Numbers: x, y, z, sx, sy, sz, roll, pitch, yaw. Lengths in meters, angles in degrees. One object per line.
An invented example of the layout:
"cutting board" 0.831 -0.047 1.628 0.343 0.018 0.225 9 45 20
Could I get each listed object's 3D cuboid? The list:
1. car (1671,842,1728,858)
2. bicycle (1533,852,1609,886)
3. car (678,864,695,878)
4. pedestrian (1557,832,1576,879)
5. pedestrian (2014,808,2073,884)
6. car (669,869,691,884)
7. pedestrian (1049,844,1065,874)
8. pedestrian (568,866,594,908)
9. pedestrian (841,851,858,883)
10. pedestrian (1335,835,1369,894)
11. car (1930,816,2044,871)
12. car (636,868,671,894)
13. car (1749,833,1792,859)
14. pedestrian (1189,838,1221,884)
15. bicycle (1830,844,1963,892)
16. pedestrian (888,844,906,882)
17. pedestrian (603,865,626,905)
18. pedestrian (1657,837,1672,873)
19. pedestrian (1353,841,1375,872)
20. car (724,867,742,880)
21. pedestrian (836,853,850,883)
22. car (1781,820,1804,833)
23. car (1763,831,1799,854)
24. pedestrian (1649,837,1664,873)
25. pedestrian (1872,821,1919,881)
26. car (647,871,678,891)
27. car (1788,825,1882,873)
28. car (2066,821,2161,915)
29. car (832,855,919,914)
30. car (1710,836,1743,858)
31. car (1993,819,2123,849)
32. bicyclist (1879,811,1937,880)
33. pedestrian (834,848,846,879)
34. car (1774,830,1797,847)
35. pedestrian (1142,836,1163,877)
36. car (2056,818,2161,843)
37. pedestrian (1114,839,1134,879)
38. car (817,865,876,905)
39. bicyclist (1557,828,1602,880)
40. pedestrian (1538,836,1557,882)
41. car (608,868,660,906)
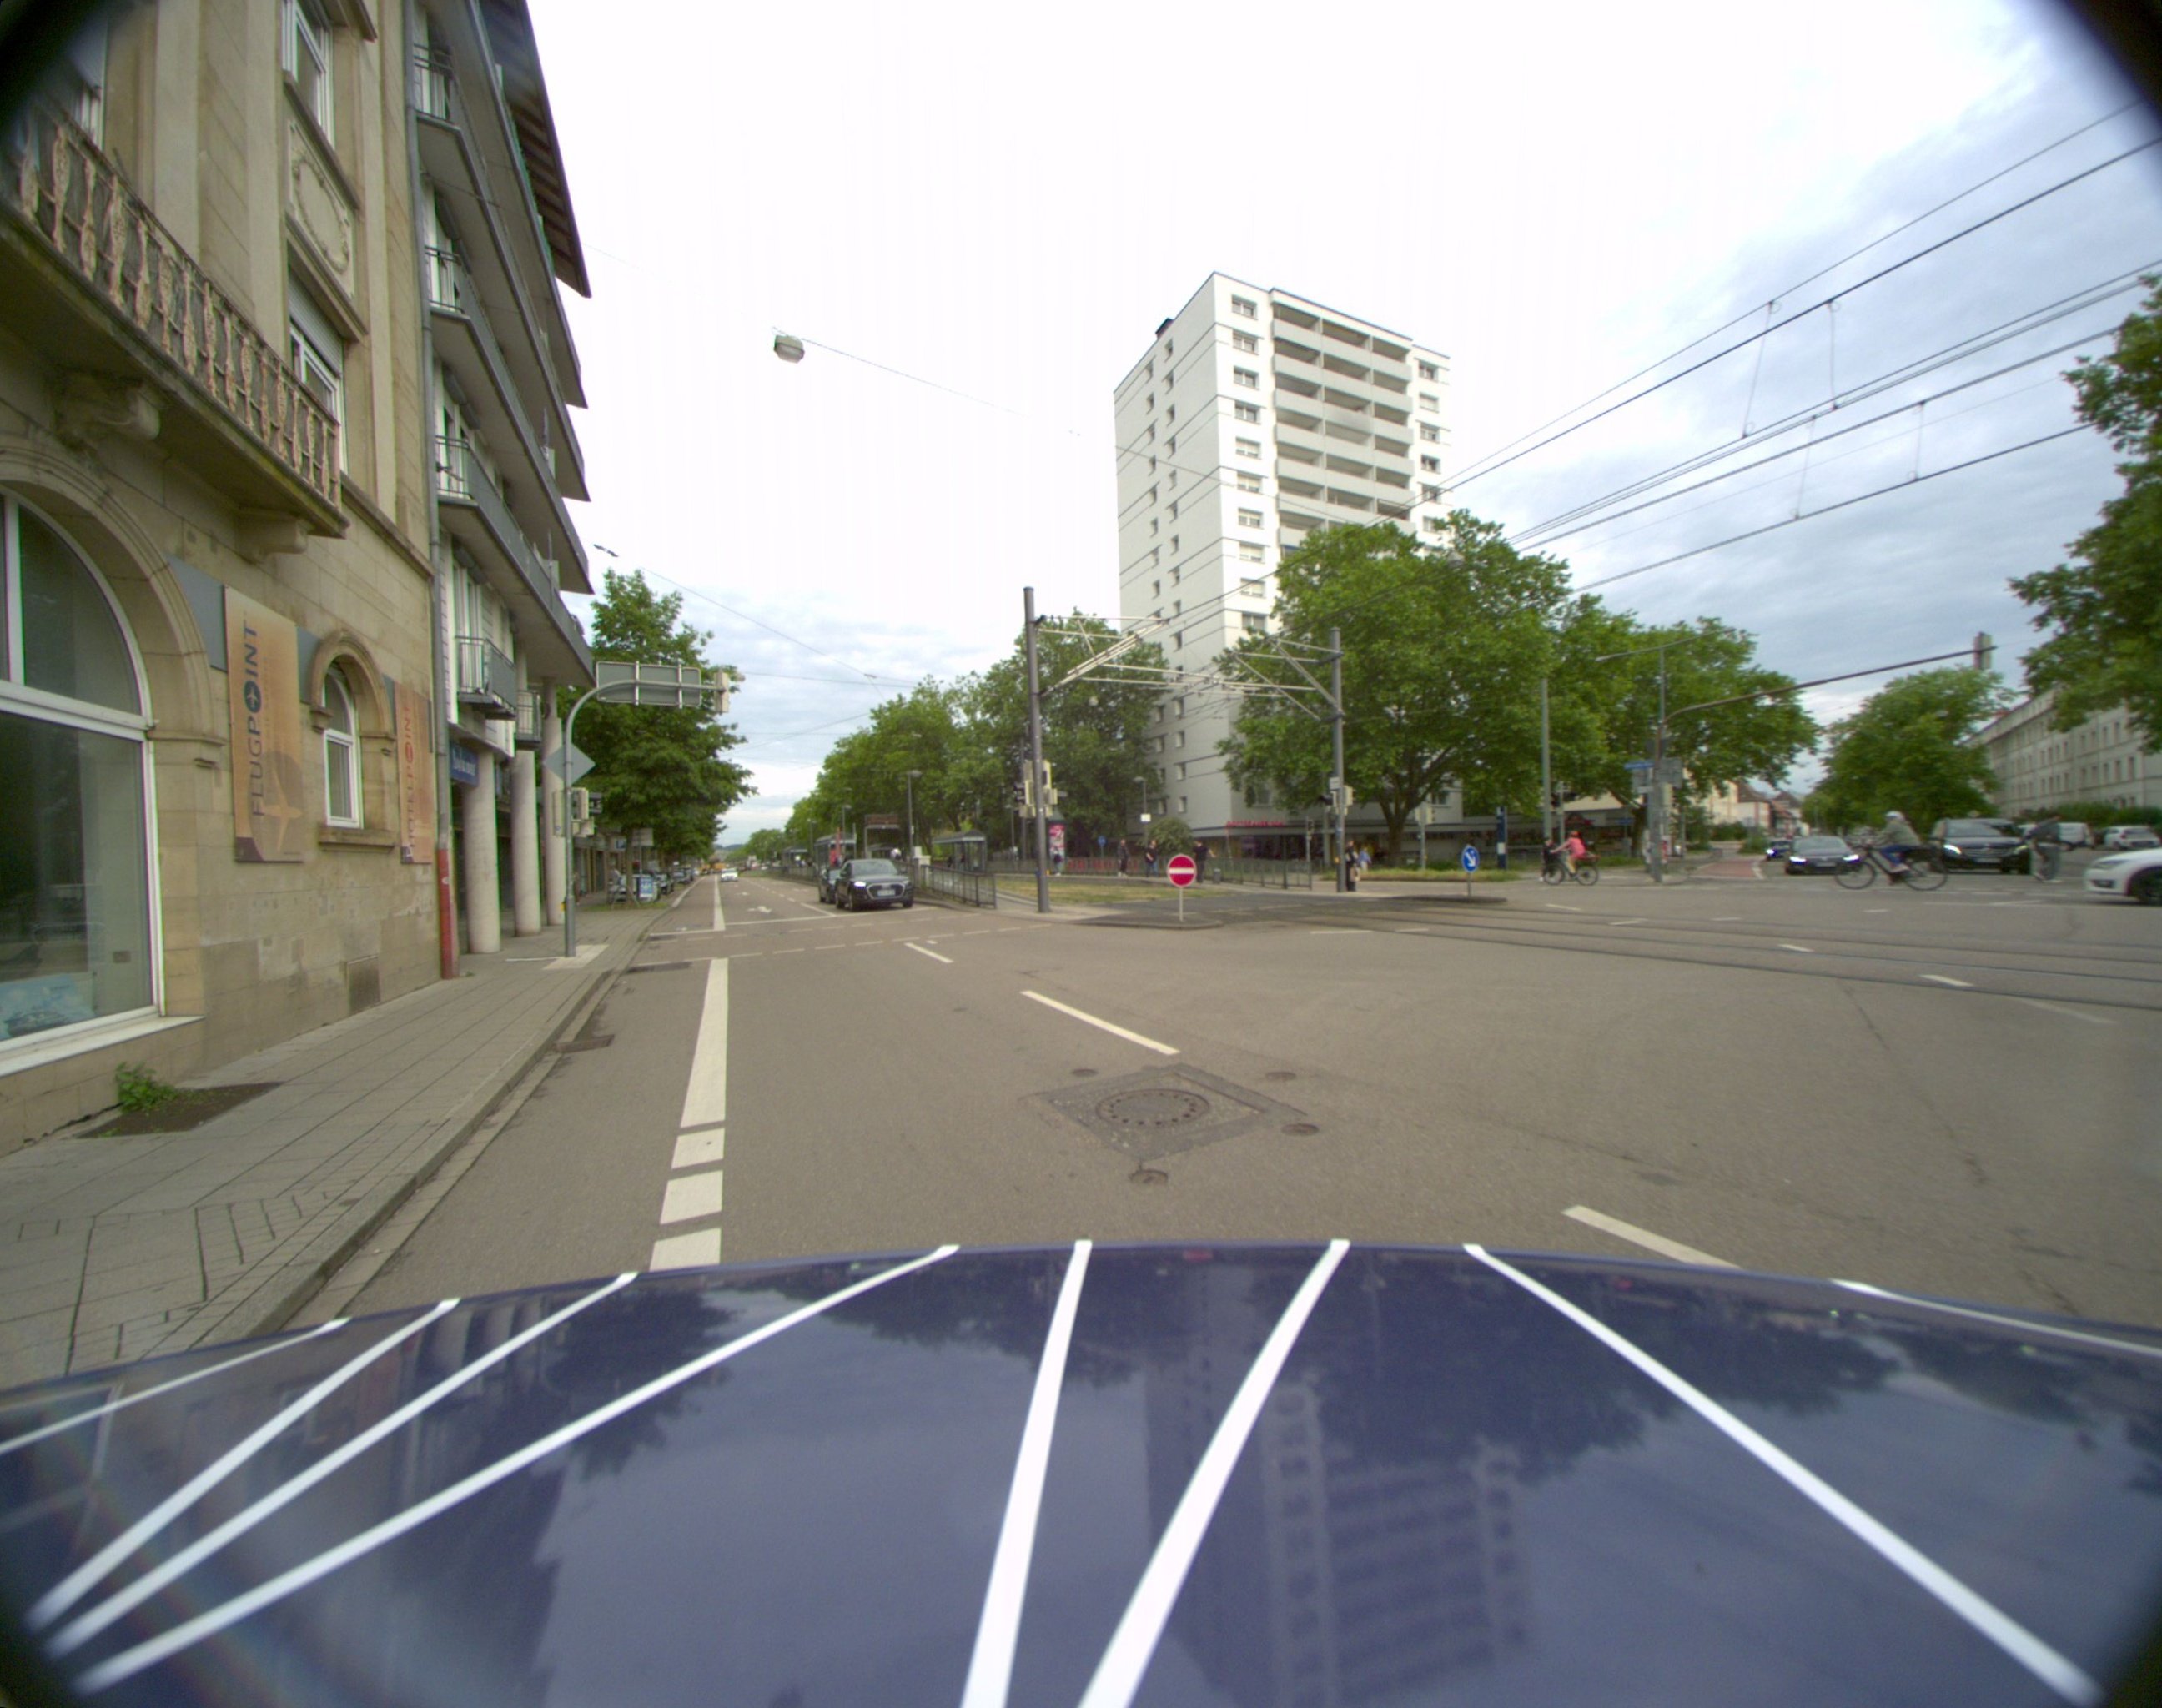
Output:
"car" 59.650 -0.367 73.354 1.821 1.368 3.989 -4 1 -41
"bicycle" 15.893 0.472 24.679 0.730 1.058 1.988 0 0 -26
"car" -49.295 2.144 95.023 1.734 1.675 3.808 -1 0 -25
"pedestrian" 16.955 0.056 26.515 0.504 1.603 0.367 -2 2 33
"pedestrian" 24.583 -0.214 19.420 0.687 1.875 0.690 -2 1 26
"car" -39.356 2.191 74.620 1.734 1.375 3.808 -1 0 -25
"pedestrian" -1.328 0.280 42.489 0.623 1.659 0.564 -4 1 -25
"pedestrian" -22.179 1.441 33.708 0.746 1.795 0.838 -4 1 -26
"pedestrian" -13.359 0.729 43.848 0.662 1.781 0.535 -3 1 14
"pedestrian" 8.266 0.305 23.204 0.657 1.740 0.626 -4 1 -23
"car" 30.161 -0.292 25.281 3.746 1.708 1.908 0 -1 -32
"car" -27.506 1.688 48.956 1.688 1.536 3.935 -1 0 -25
"car" 47.097 -0.564 51.931 1.930 1.674 4.008 -2 0 39
"pedestrian" 4.663 0.256 28.569 0.744 1.686 0.877 -4 1 -25
"bicycle" 18.952 0.318 17.727 0.730 1.058 1.988 0 0 -25
"pedestrian" -8.678 0.421 35.841 0.664 1.741 0.533 -4 1 -25
"pedestrian" -22.978 1.533 37.442 0.654 1.922 0.642 -3 1 -10
"pedestrian" 22.312 0.035 29.054 0.416 1.357 0.392 -2 2 37
"pedestrian" 14.237 0.135 38.197 0.555 1.500 0.852 -4 1 -21
"car" -39.605 2.218 86.474 1.869 1.339 3.808 -1 0 -25
"pedestrian" -14.529 0.833 46.369 0.684 1.781 0.820 -4 1 -22
"car" 124.143 -4.812 132.537 4.006 2.002 1.995 -4 1 -34
"car" 57.325 -0.943 62.212 4.008 1.707 1.994 -2 1 -45
"pedestrian" 22.122 0.040 29.186 0.416 1.357 0.392 -2 2 37
"pedestrian" 23.475 -0.080 21.902 0.808 1.680 0.754 -2 1 -30
"car" -30.590 1.968 55.666 1.734 1.375 3.808 -1 0 -25
"car" 28.375 -0.155 28.577 3.746 1.708 1.660 0 -1 -32
"car" 18.547 0.190 11.327 1.850 1.439 4.404 -4 1 -25
"car" -6.772 0.928 24.694 1.920 1.638 4.359 -4 1 -25
"car" 53.864 -0.588 63.432 1.994 1.543 3.916 -2 1 40
"car" 60.870 -1.218 47.455 2.003 1.654 4.820 -2 0 -33
"bicyclist" 19.049 -0.182 17.504 0.586 1.553 0.755 0 0 -25
"pedestrian" -16.139 0.626 50.843 0.586 2.039 0.820 -4 1 -22
"car" 90.861 -2.055 98.058 1.994 2.002 4.007 -2 1 41
"pedestrian" 3.060 0.103 32.533 0.623 1.741 0.547 -4 1 -25
"car" 64.652 -1.440 47.908 1.799 1.477 4.004 -2 0 15
"pedestrian" 1.954 0.217 34.523 0.623 1.779 0.533 -4 1 -25
"car" -9.424 1.191 30.358 1.640 1.367 4.005 -4 1 -25
"bicyclist" 15.999 -0.004 24.407 0.709 1.628 0.992 0 0 -26
"pedestrian" 16.650 0.176 27.119 0.523 1.603 0.528 -2 2 33
"car" -20.921 1.501 35.661 1.734 1.652 4.095 0 -1 -25
